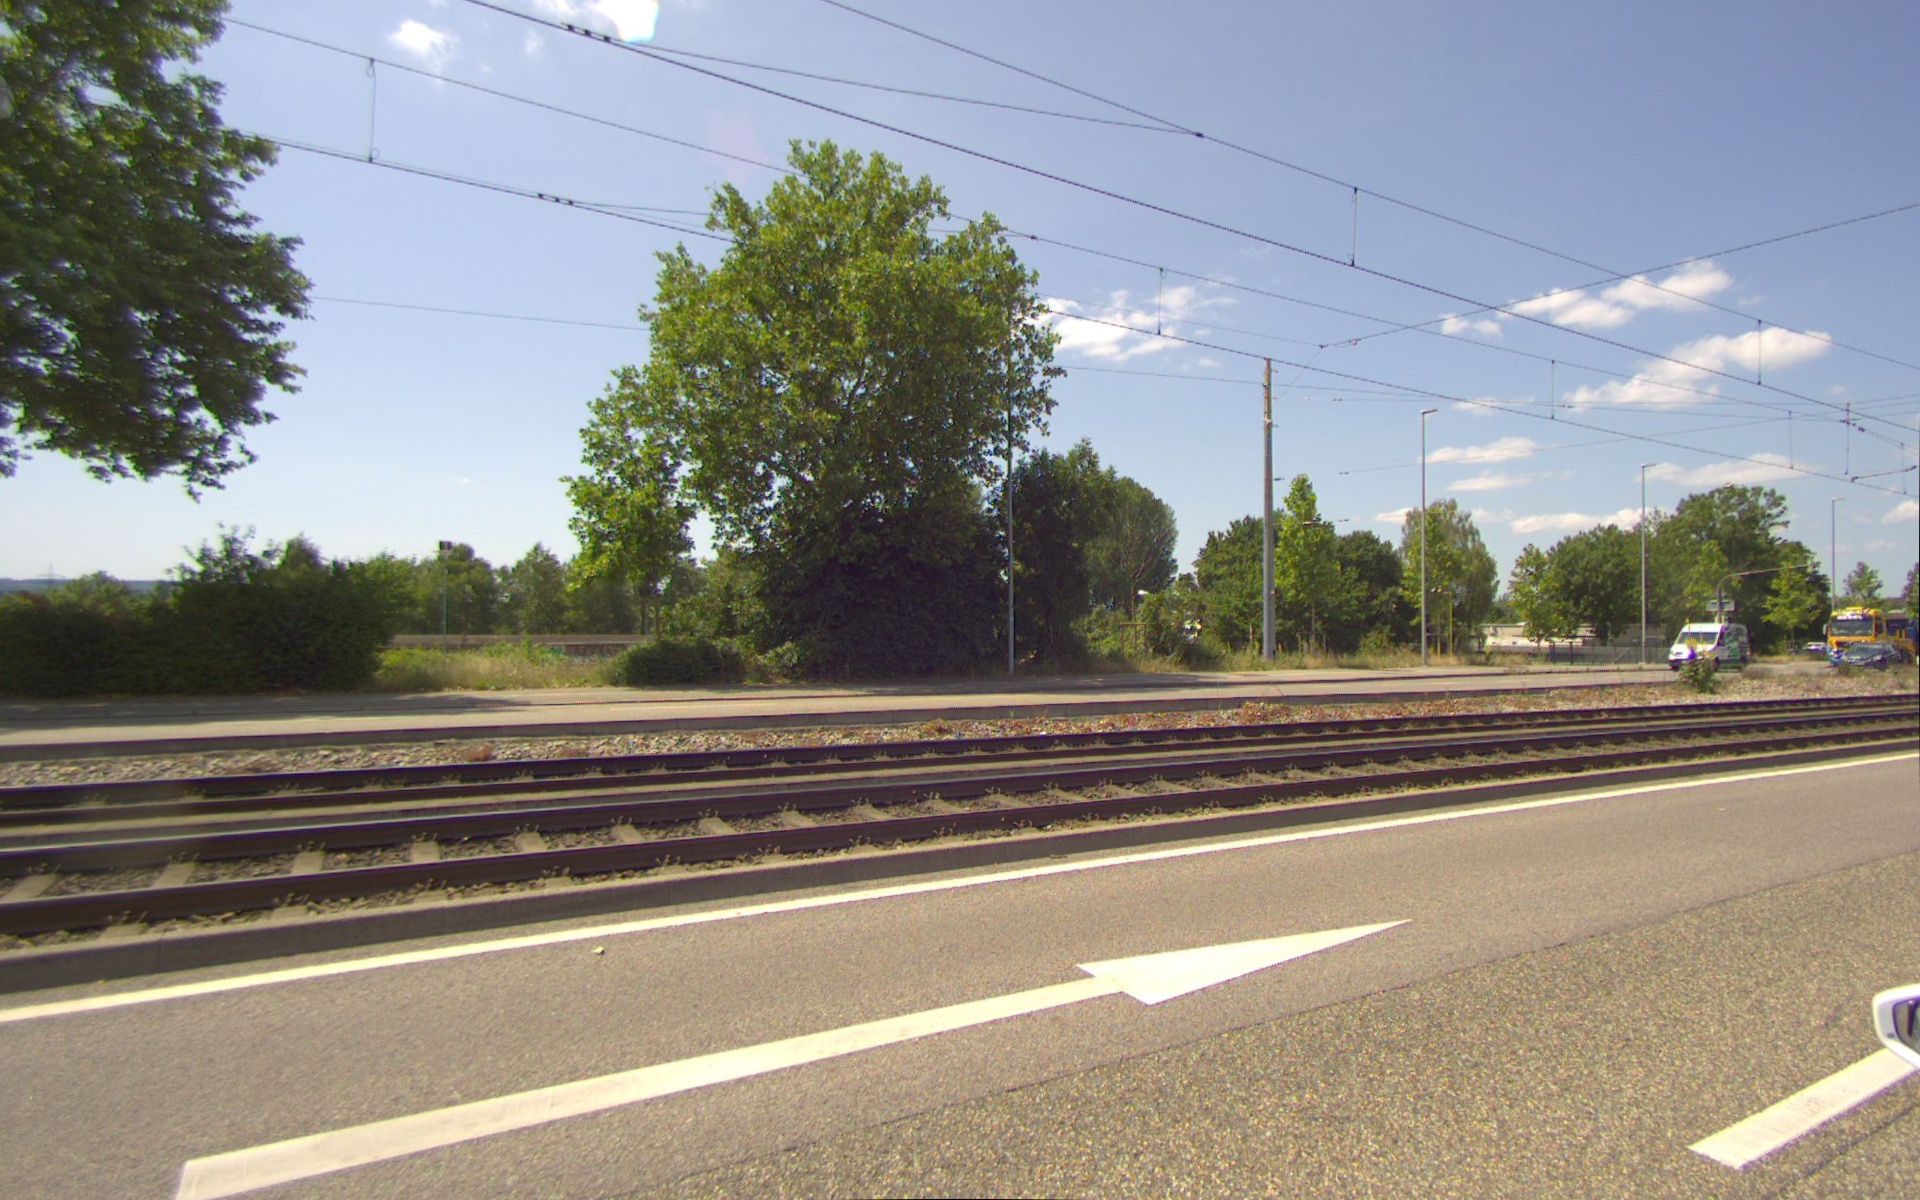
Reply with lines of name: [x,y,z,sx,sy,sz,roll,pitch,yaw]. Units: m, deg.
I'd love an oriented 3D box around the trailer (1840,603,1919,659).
trailer: [66.124,2.231,69.732,15.693,3.565,2.753,2,-1,-31]

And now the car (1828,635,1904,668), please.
car: [49.815,2.799,55.201,4.408,1.692,1.813,1,0,-30]

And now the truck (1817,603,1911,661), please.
truck: [59.006,2.091,65.508,6.365,3.616,2.754,2,0,-30]

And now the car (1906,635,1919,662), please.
car: [61.865,3.079,63.422,4.406,1.692,1.814,1,0,-29]

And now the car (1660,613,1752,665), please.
car: [40.182,2.100,54.030,6.175,2.622,2.228,1,-3,-36]
